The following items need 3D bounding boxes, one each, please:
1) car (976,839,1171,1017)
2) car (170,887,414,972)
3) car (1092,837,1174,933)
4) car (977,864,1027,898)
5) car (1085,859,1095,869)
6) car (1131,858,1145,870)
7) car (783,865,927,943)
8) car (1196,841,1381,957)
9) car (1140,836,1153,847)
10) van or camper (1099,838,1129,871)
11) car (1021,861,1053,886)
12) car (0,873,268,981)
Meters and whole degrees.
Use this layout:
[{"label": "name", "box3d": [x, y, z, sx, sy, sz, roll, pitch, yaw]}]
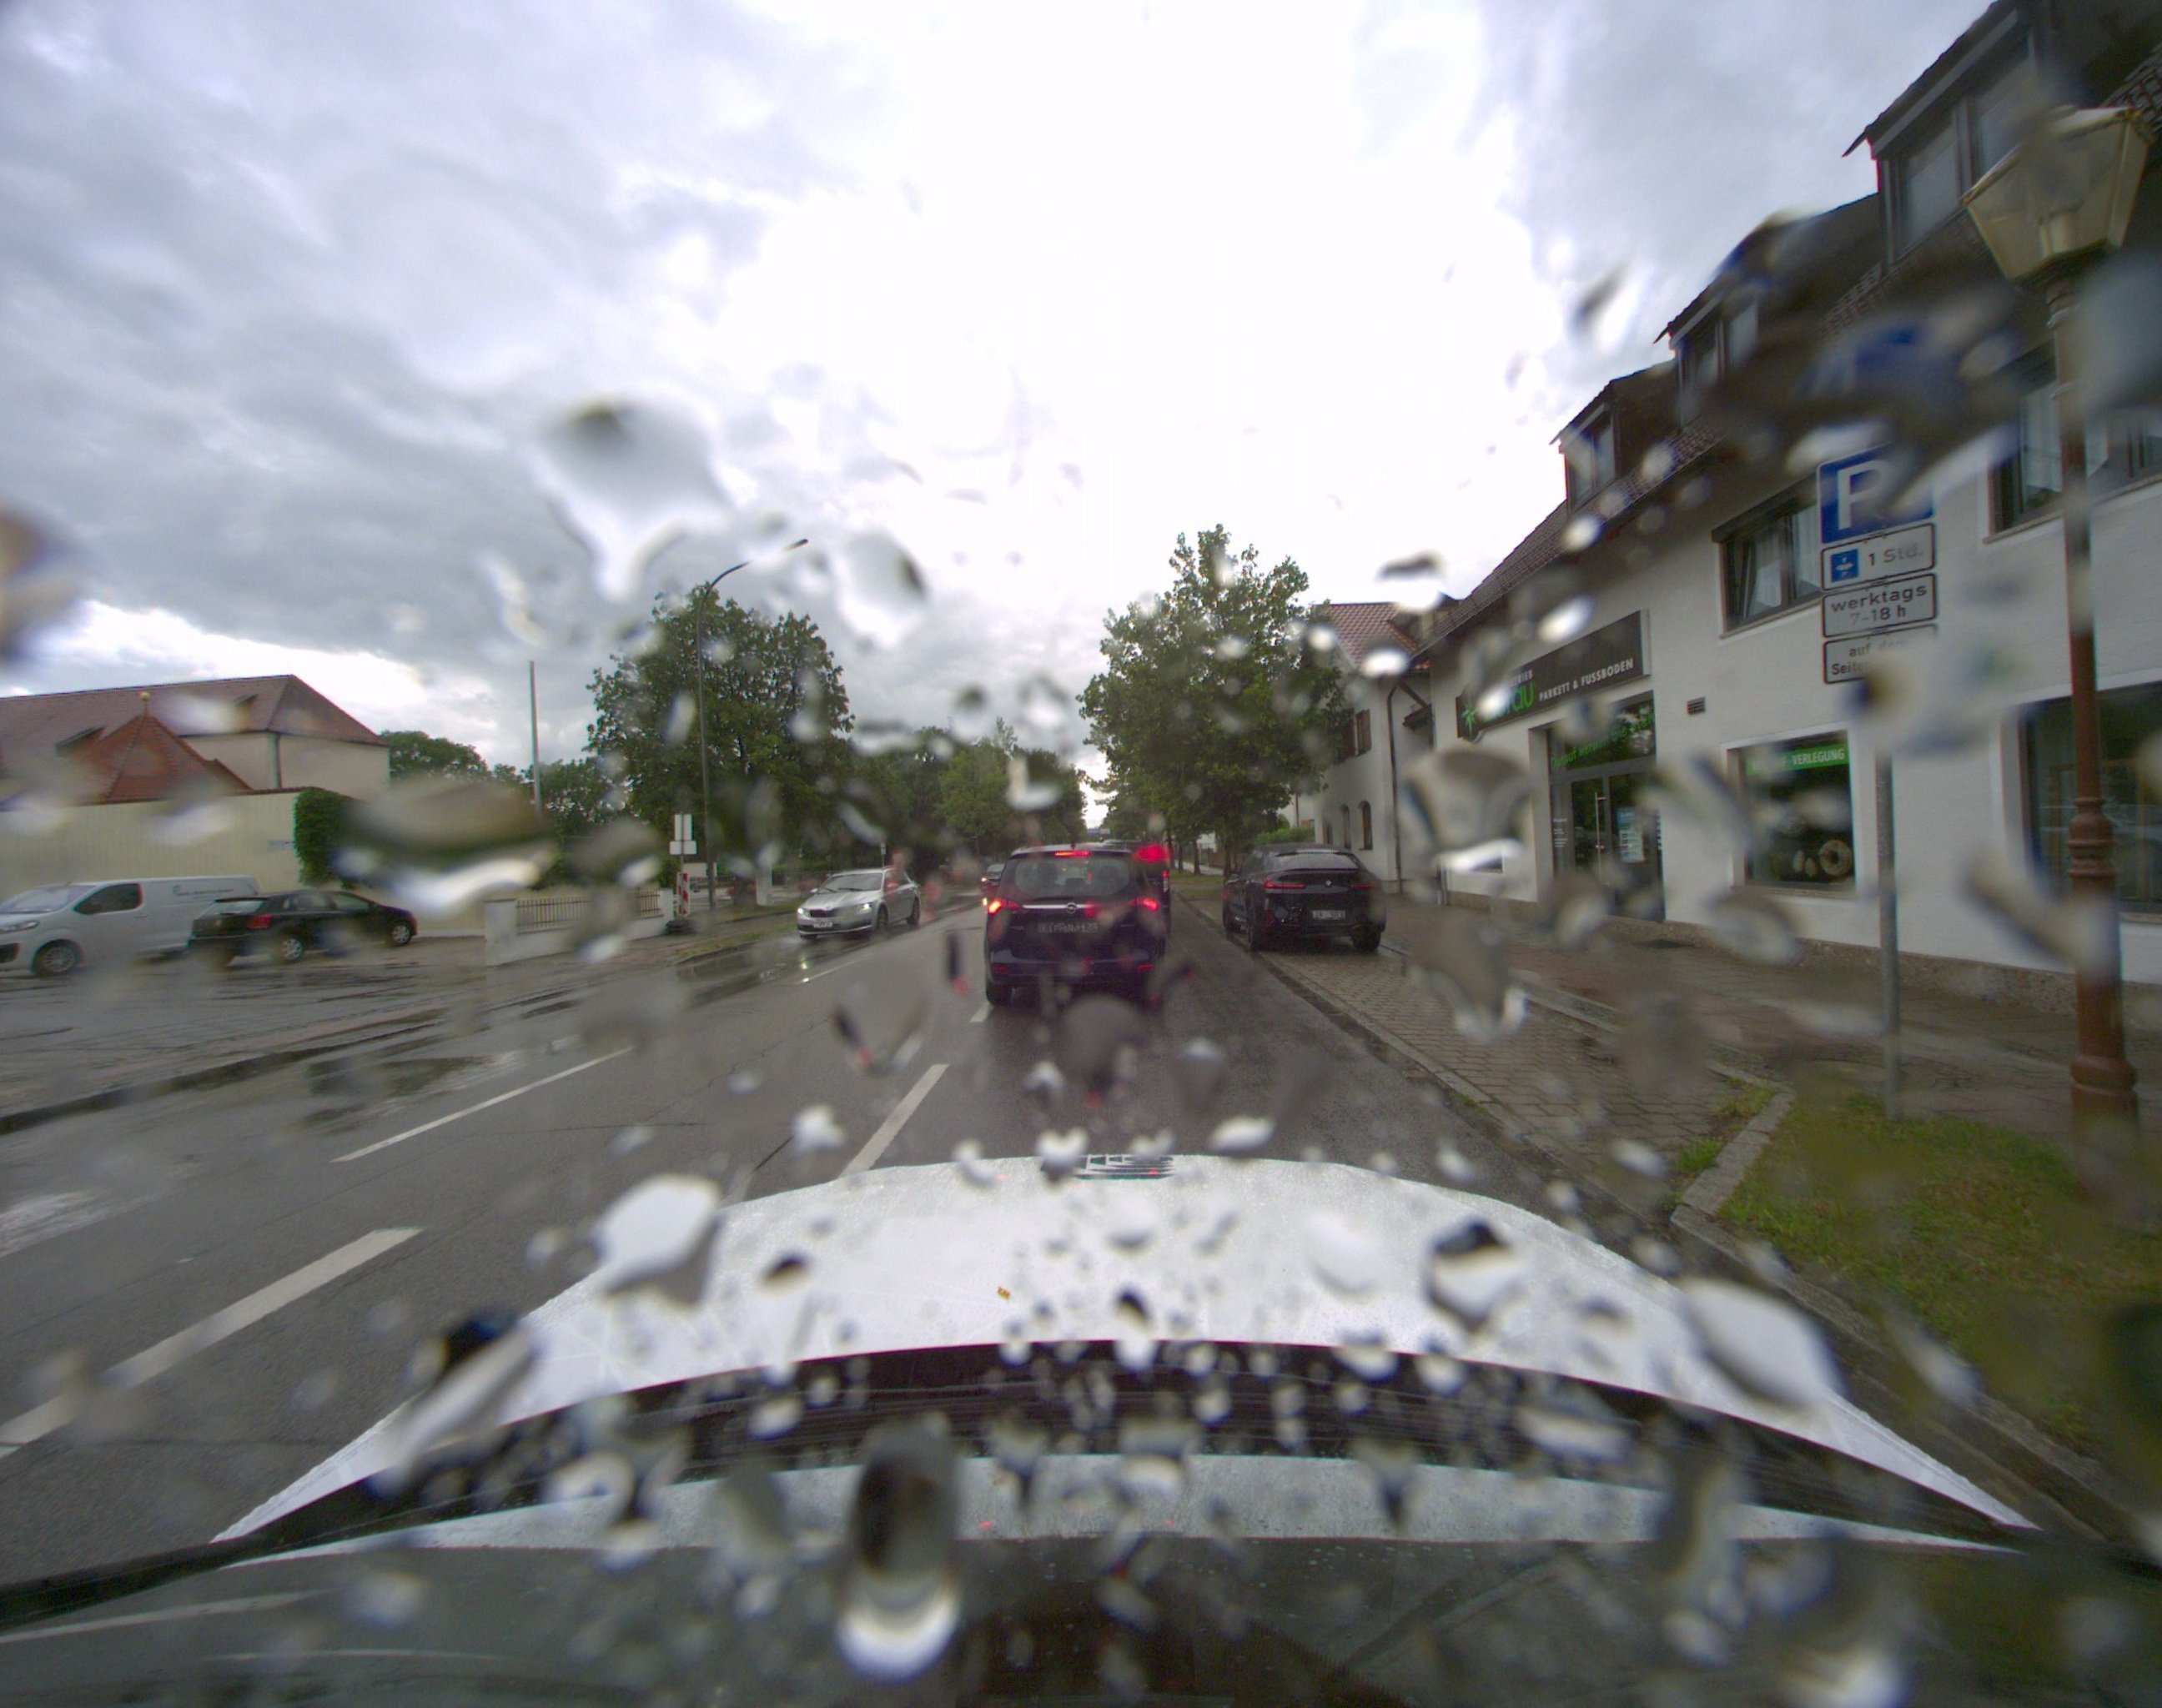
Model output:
[{"label": "car", "box3d": [0.010, 0.687, 9.302, 1.762, 1.604, 3.665, -1, 0, 2]}, {"label": "car", "box3d": [-16.473, 1.512, 17.278, 1.601, 1.380, 3.510, -4, 0, 2]}, {"label": "car", "box3d": [1.041, 0.582, 16.767, 1.494, 1.776, 3.114, -1, 0, 2]}, {"label": "car", "box3d": [-3.651, 1.235, 38.321, 1.573, 1.375, 4.188, -4, 0, 4]}, {"label": "car", "box3d": [1.401, 1.623, 130.953, 1.471, 1.623, 3.692, -2, -1, 2]}, {"label": "car", "box3d": [7.100, 1.216, 101.651, 1.623, 1.378, 3.624, -2, -1, 2]}, {"label": "car", "box3d": [-4.927, 1.030, 18.398, 1.770, 1.375, 4.188, -4, 0, 4]}, {"label": "car", "box3d": [3.158, 0.640, 13.279, 2.109, 1.581, 3.937, -1, 0, 2]}, {"label": "car", "box3d": [8.949, -1.727, 111.504, 1.624, 1.378, 3.625, -4, 0, 2]}, {"label": "van or camper", "box3d": [2.871, 0.037, 70.629, 2.351, 2.665, 5.375, -3, 0, 2]}, {"label": "car", "box3d": [-2.678, 1.179, 50.299, 1.467, 1.375, 3.211, -4, 0, 4]}, {"label": "car", "box3d": [-21.126, 1.488, 17.689, 1.957, 1.919, 4.738, -4, 0, 2]}]
